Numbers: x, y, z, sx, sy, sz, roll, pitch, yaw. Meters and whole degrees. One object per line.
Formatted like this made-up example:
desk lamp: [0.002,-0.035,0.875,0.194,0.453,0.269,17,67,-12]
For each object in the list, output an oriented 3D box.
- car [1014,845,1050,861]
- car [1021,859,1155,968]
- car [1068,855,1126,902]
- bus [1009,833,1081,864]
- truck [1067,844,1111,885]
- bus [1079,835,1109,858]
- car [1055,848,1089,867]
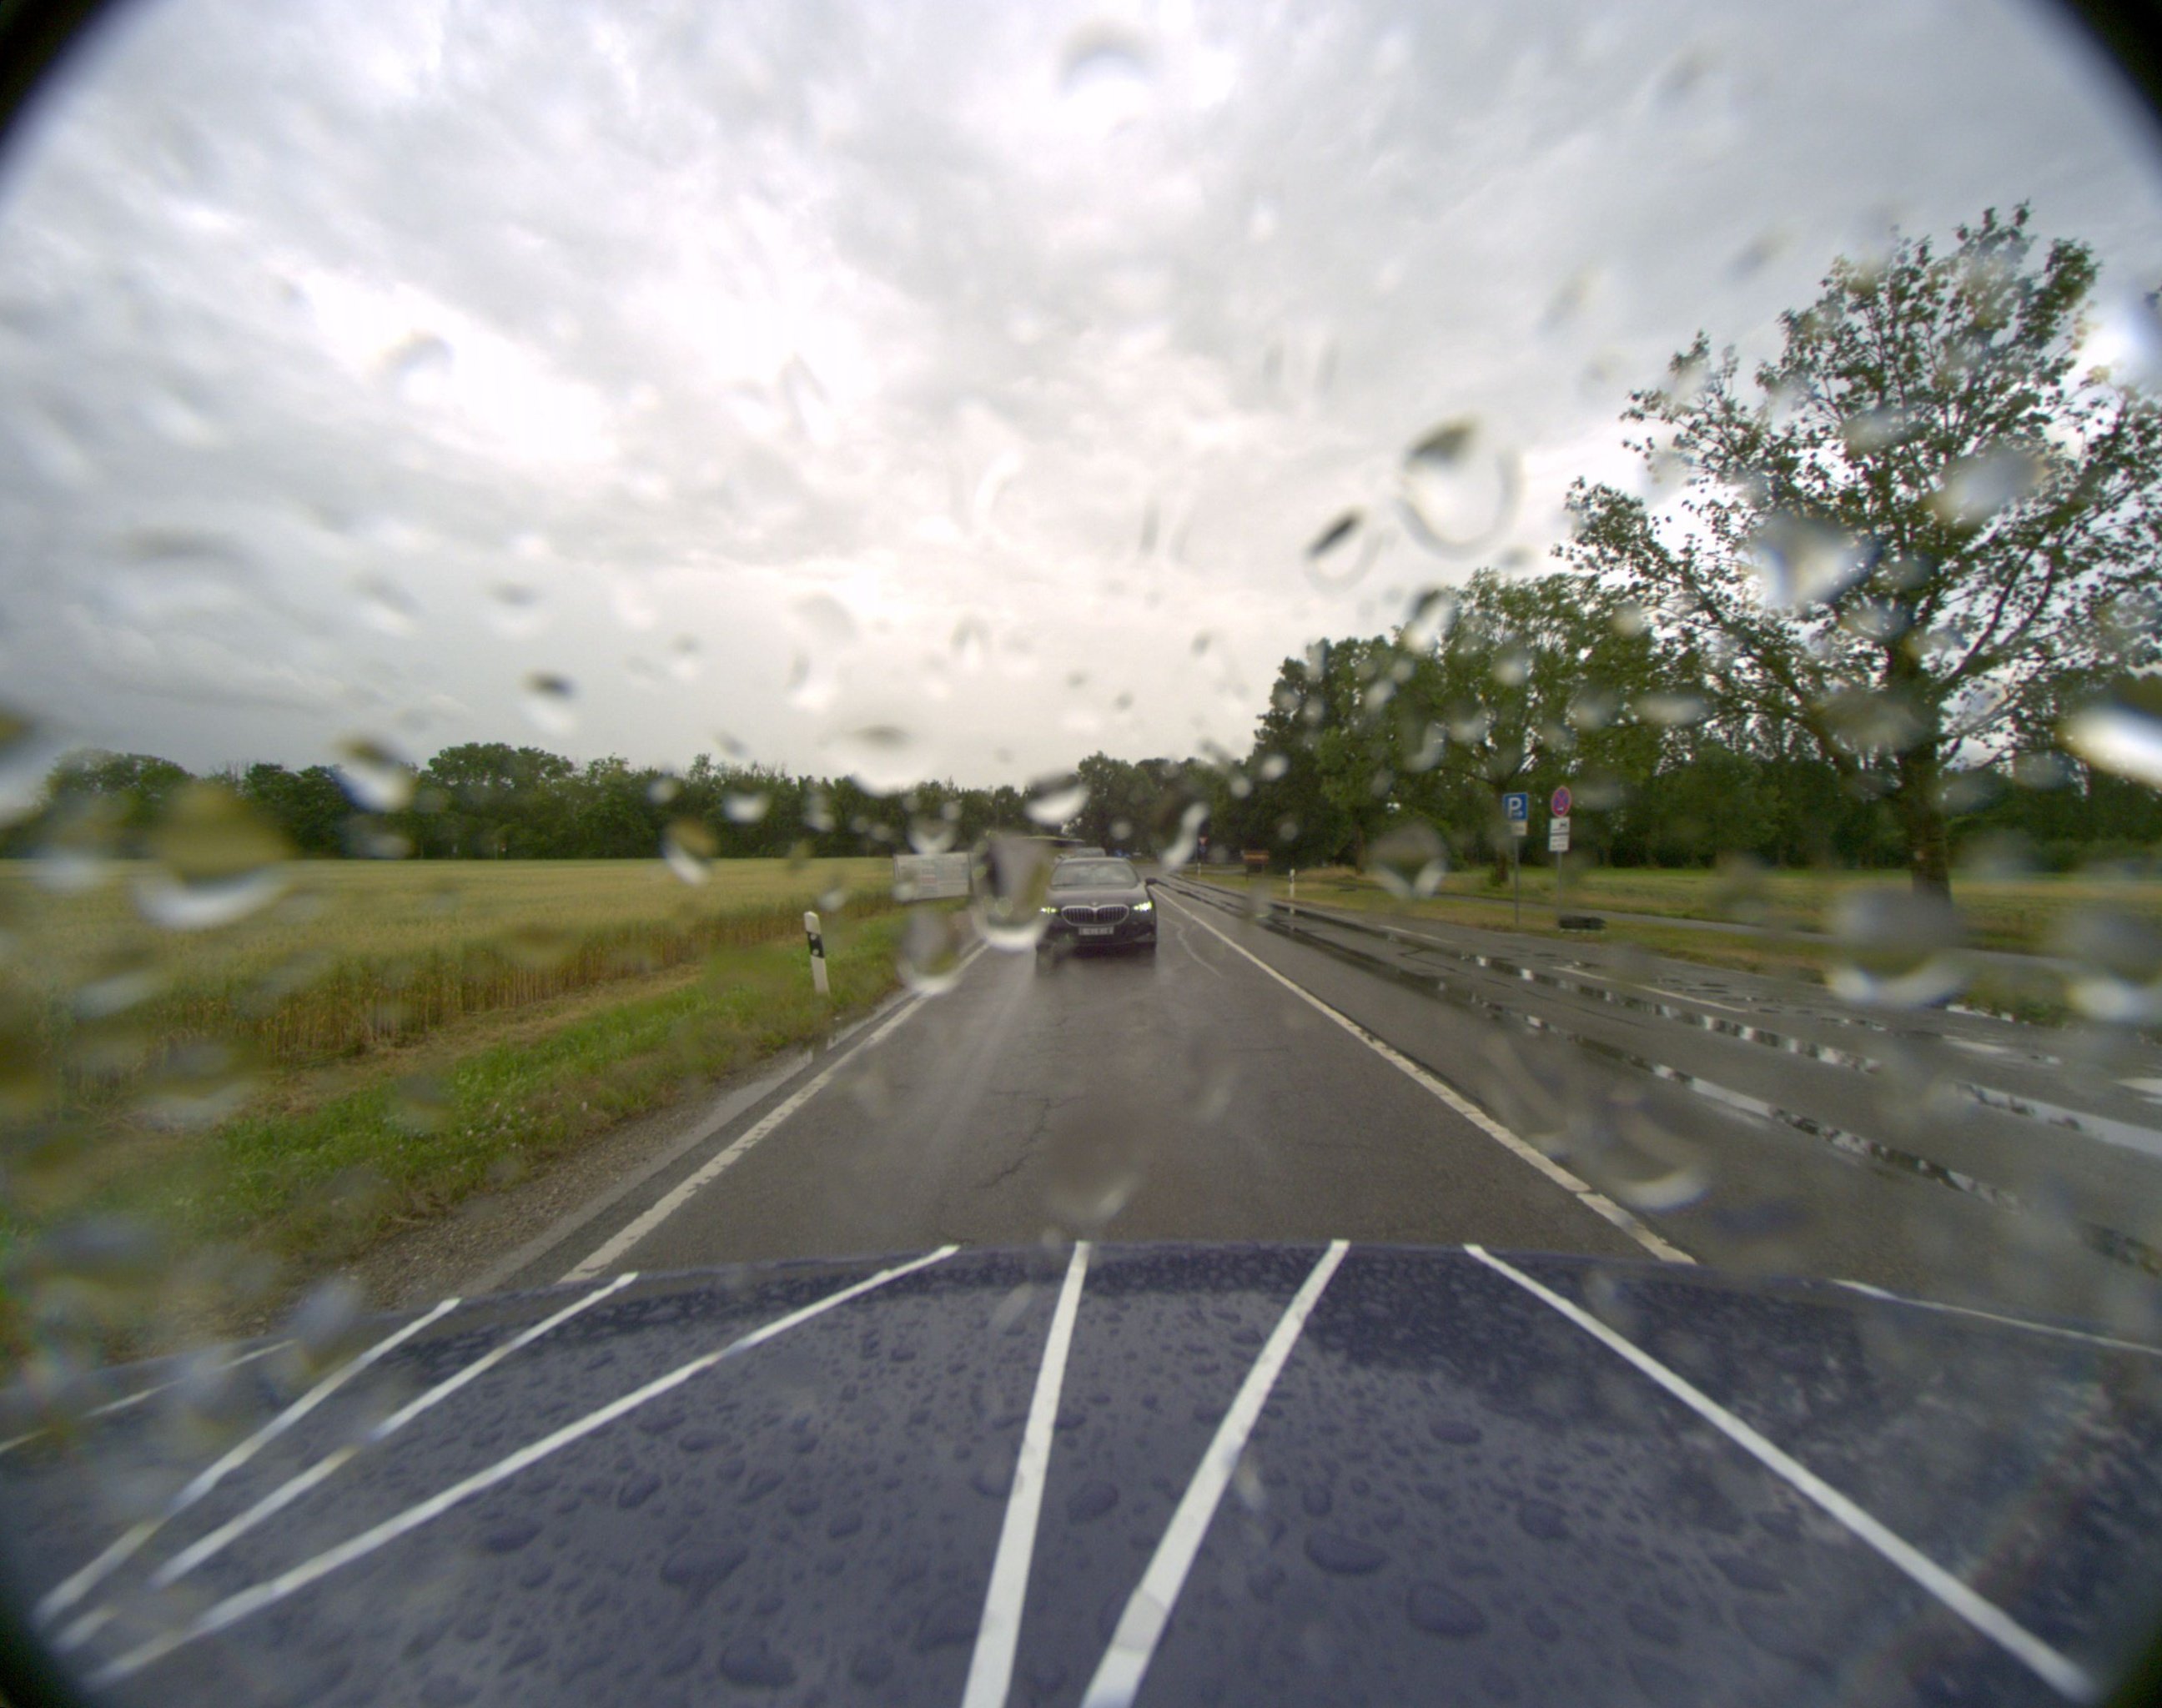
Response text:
car: [-4.993,-0.062,76.321,1.896,1.522,4.492,-2,1,-28]
car: [0.154,0.871,12.950,1.891,1.484,4.035,-1,0,2]
car: [0.519,0.846,28.065,1.892,1.482,4.191,-2,1,-1]
bus: [-4.406,-0.706,99.192,2.990,3.665,14.319,1,1,25]
truck: [0.360,0.508,42.271,2.076,2.050,5.767,-2,1,-2]
bus: [2.178,-1.180,120.041,2.854,3.417,14.302,1,1,8]
car: [-0.850,0.298,67.283,1.894,1.522,4.496,-2,0,-16]
